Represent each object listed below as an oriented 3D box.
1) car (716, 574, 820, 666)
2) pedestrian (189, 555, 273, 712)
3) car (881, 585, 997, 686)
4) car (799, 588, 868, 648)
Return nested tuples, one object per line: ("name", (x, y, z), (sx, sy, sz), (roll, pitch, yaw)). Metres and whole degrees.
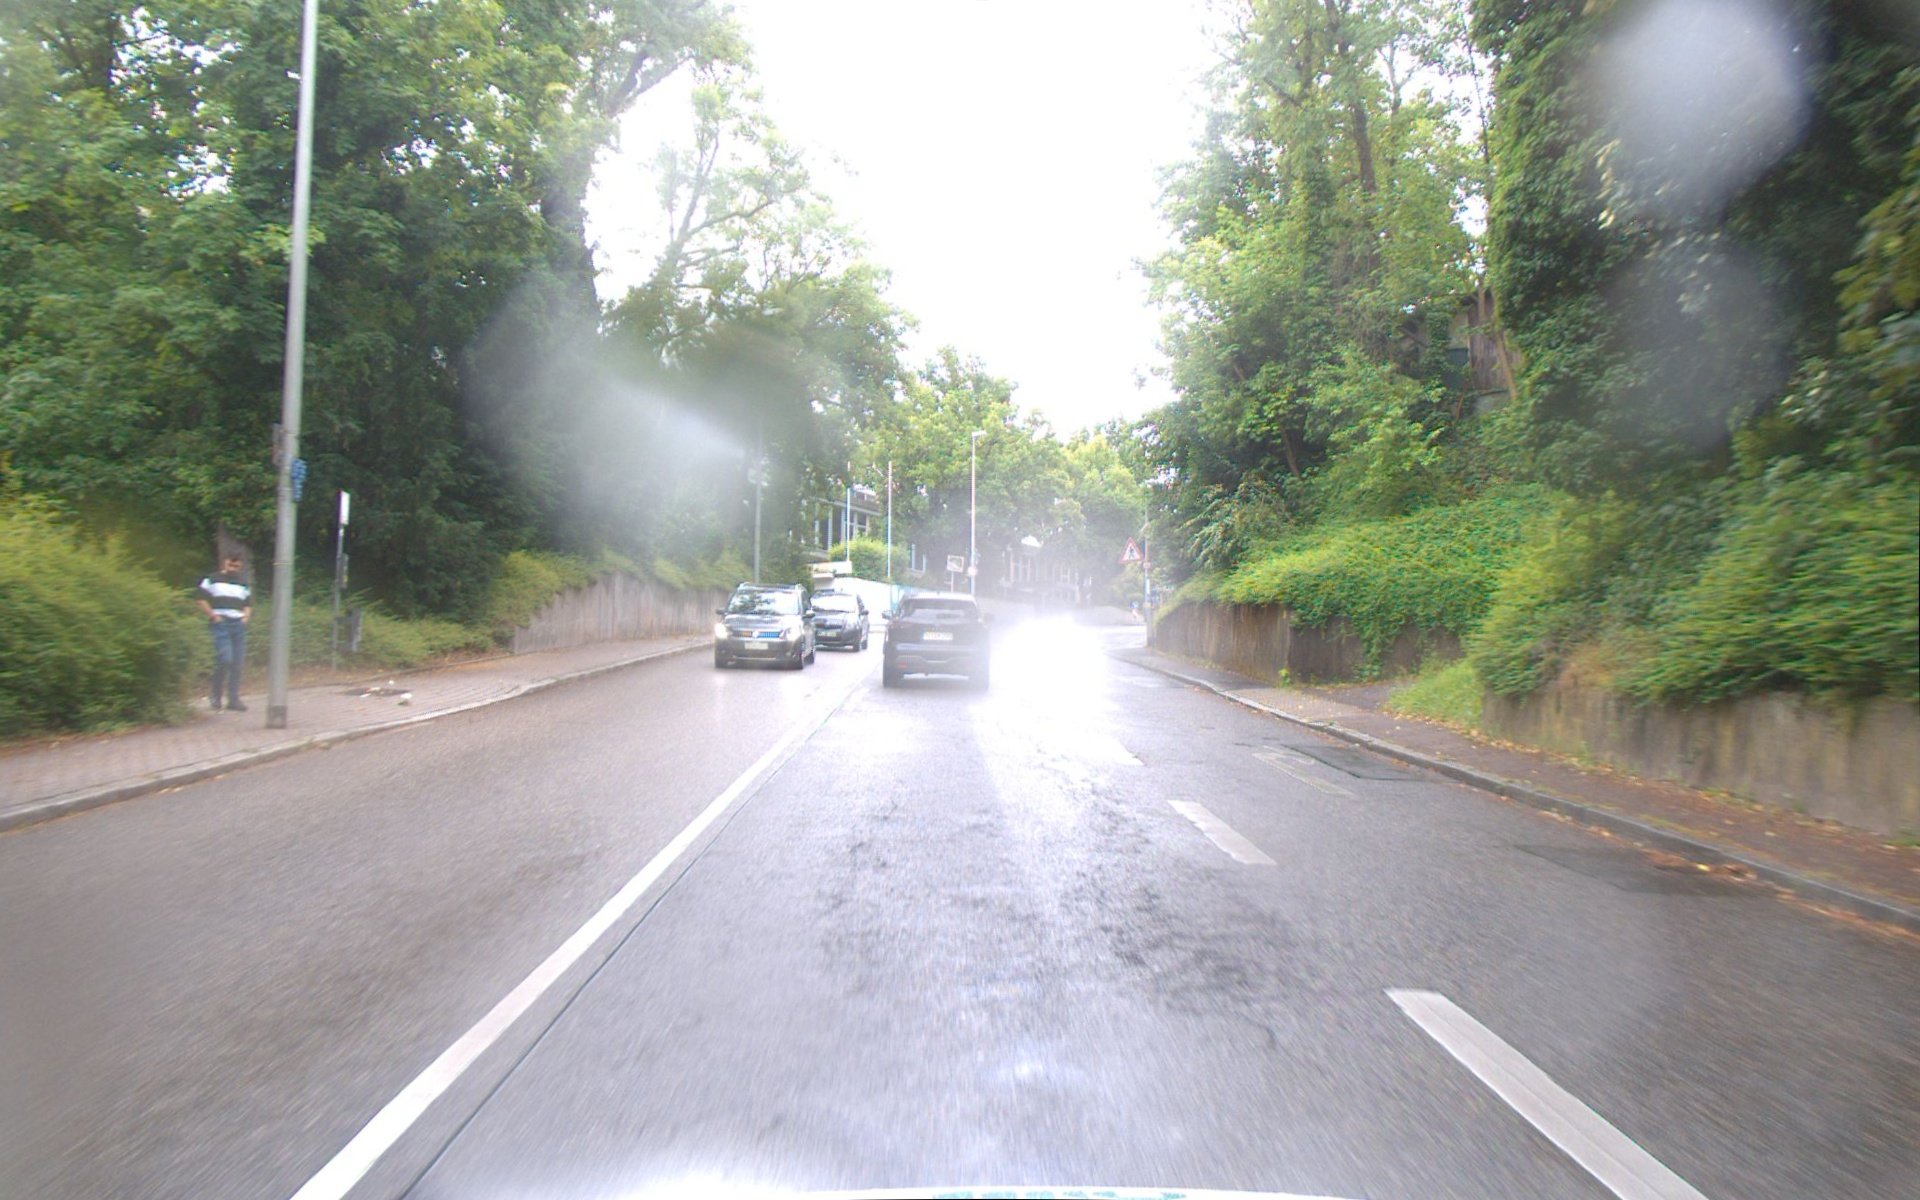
("car", (-3.864, 0.377, 33.771), (1.794, 1.741, 3.998), (1, 0, -2))
("pedestrian", (-7.960, 0.355, 18.068), (0.701, 1.673, 0.704), (0, 0, -37))
("car", (-0.379, 0.561, 28.918), (1.889, 1.641, 3.999), (0, 0, -1))
("car", (-3.341, 0.450, 44.090), (1.641, 1.522, 3.459), (0, 0, -1))
